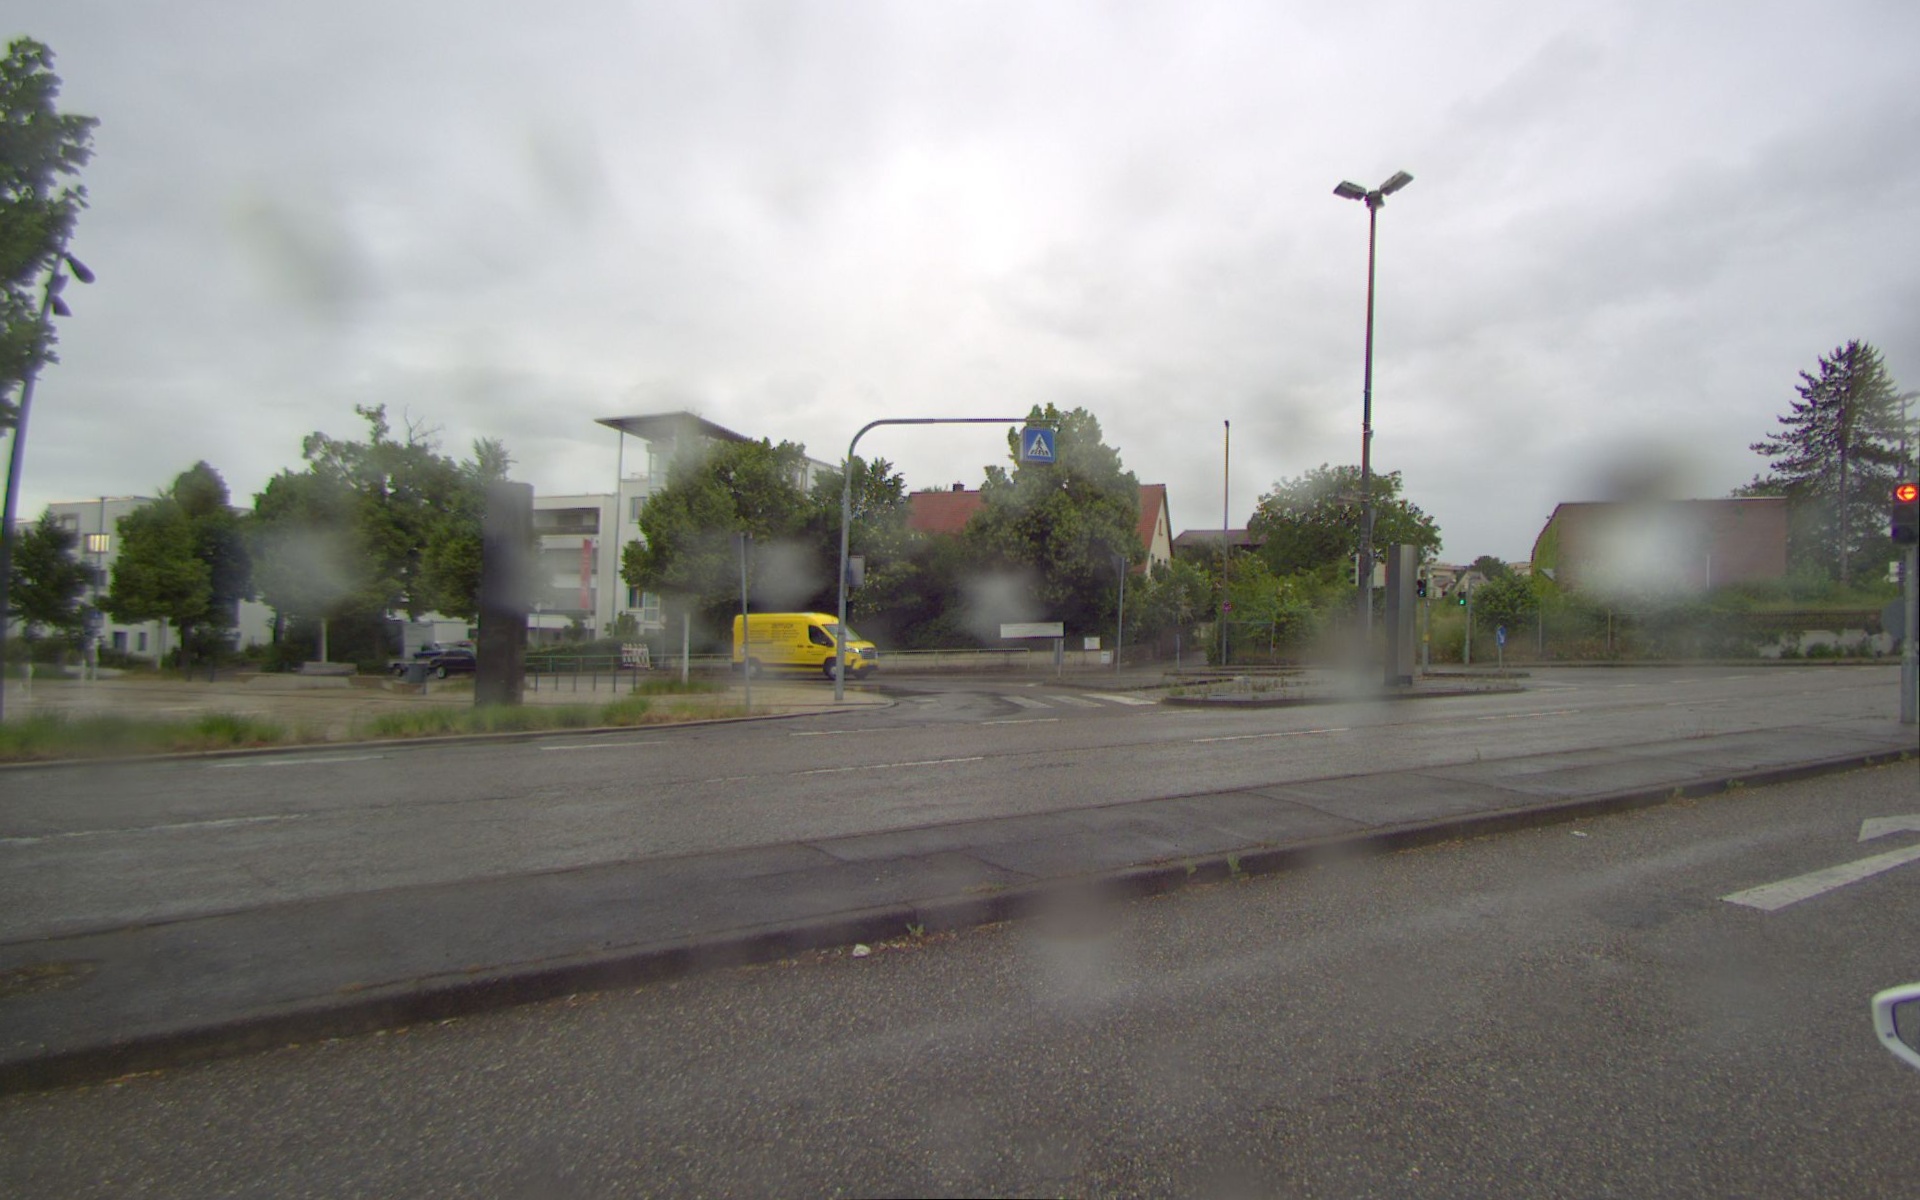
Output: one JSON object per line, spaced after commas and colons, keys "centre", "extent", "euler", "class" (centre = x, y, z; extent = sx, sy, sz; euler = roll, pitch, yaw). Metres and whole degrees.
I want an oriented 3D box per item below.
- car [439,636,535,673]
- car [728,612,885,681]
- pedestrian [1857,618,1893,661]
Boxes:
{"centre": [-21.259, 2.462, 45.118], "extent": [3.929, 1.559, 1.997], "euler": [-2, -3, 29], "class": "car"}
{"centre": [-5.864, 1.796, 38.090], "extent": [5.808, 2.441, 1.998], "euler": [-2, -3, 27], "class": "car"}
{"centre": [34.435, 1.503, 37.822], "extent": [0.816, 1.588, 0.756], "euler": [1, -3, -31], "class": "pedestrian"}
